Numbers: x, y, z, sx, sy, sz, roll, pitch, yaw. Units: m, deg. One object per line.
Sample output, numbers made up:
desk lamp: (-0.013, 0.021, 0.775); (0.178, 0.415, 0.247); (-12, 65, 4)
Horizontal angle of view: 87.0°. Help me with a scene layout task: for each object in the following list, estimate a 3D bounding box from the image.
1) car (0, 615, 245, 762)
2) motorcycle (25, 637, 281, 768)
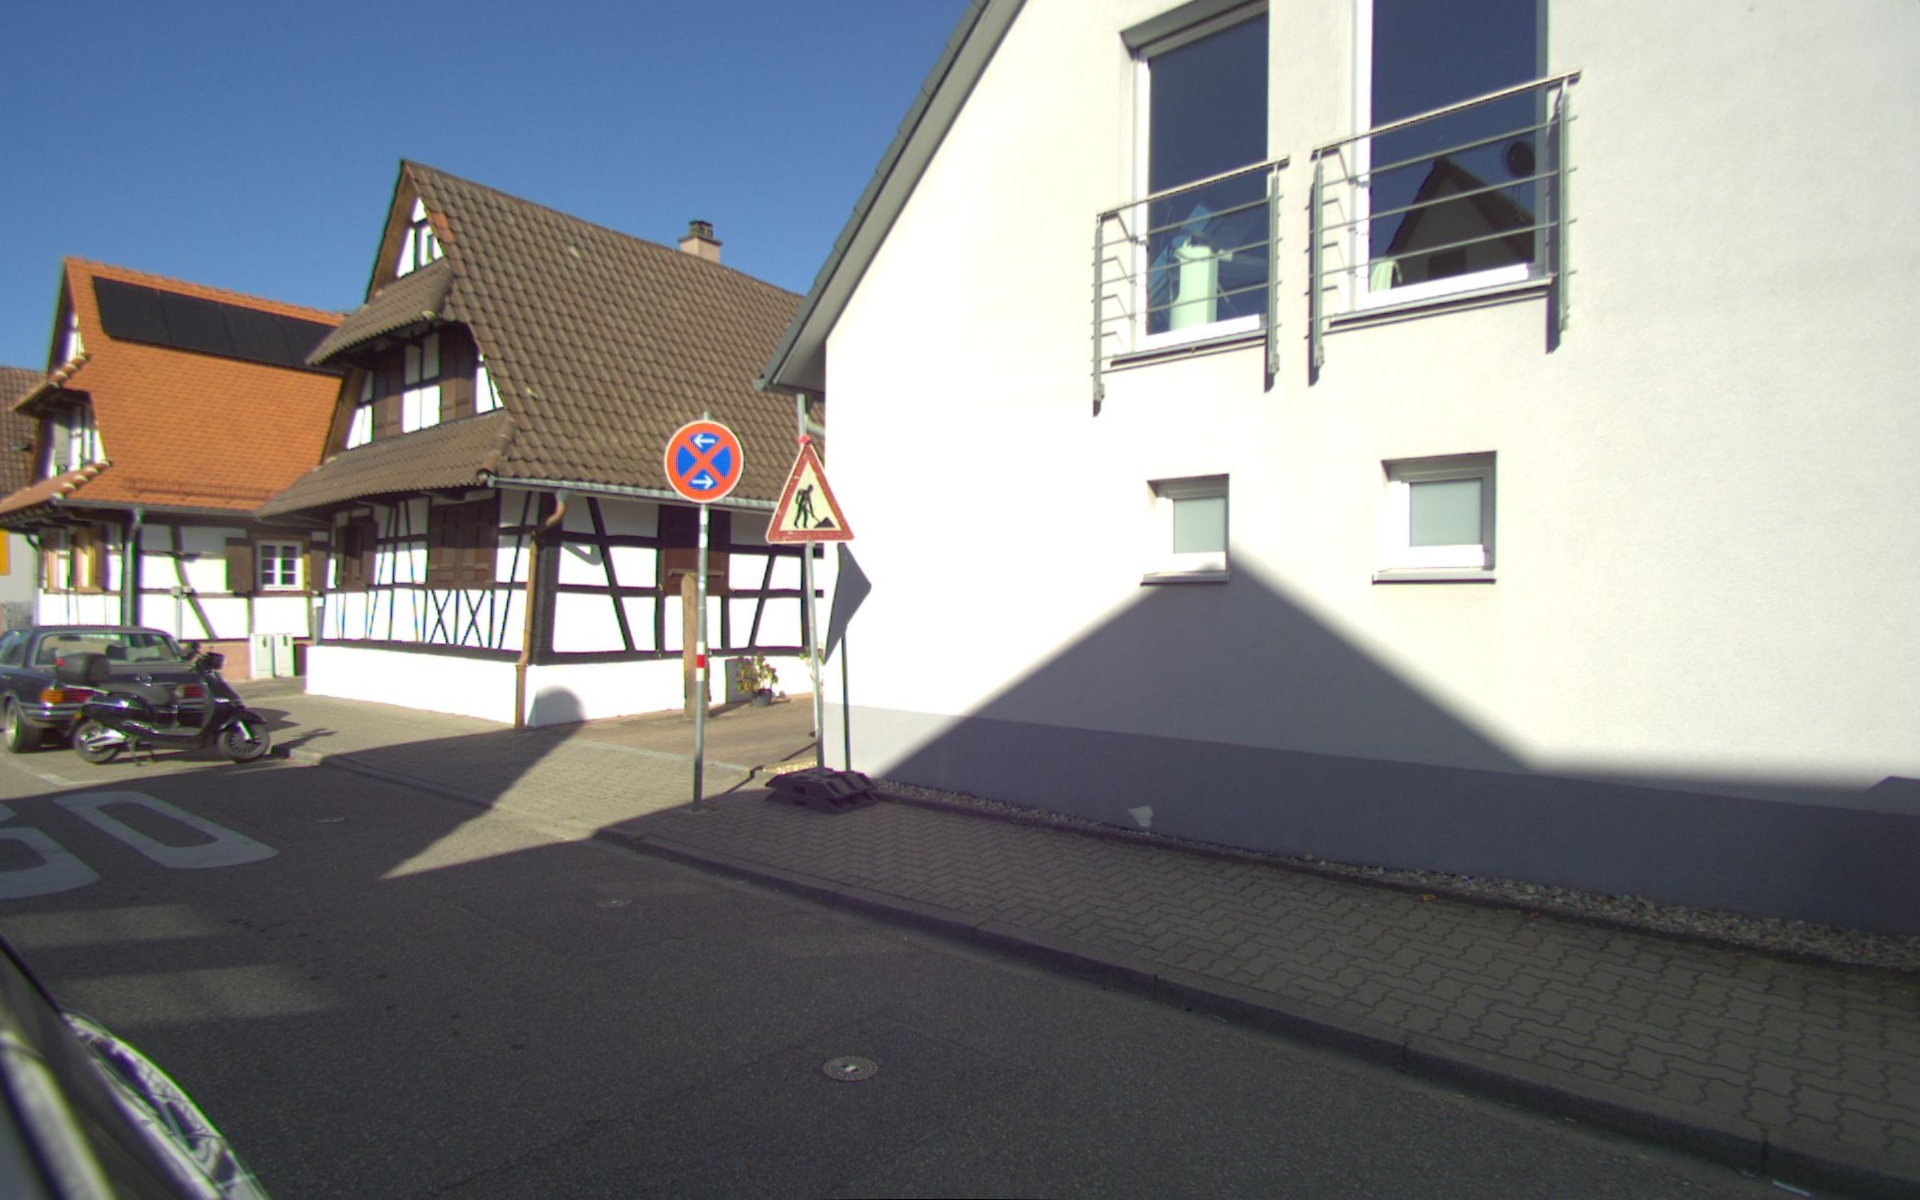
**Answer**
car: (-10.792, 0.925, 12.360); (5.026, 1.417, 1.828); (0, -1, 36)
motorcycle: (-8.118, 1.009, 10.260); (1.962, 1.241, 0.628); (0, -1, -10)
